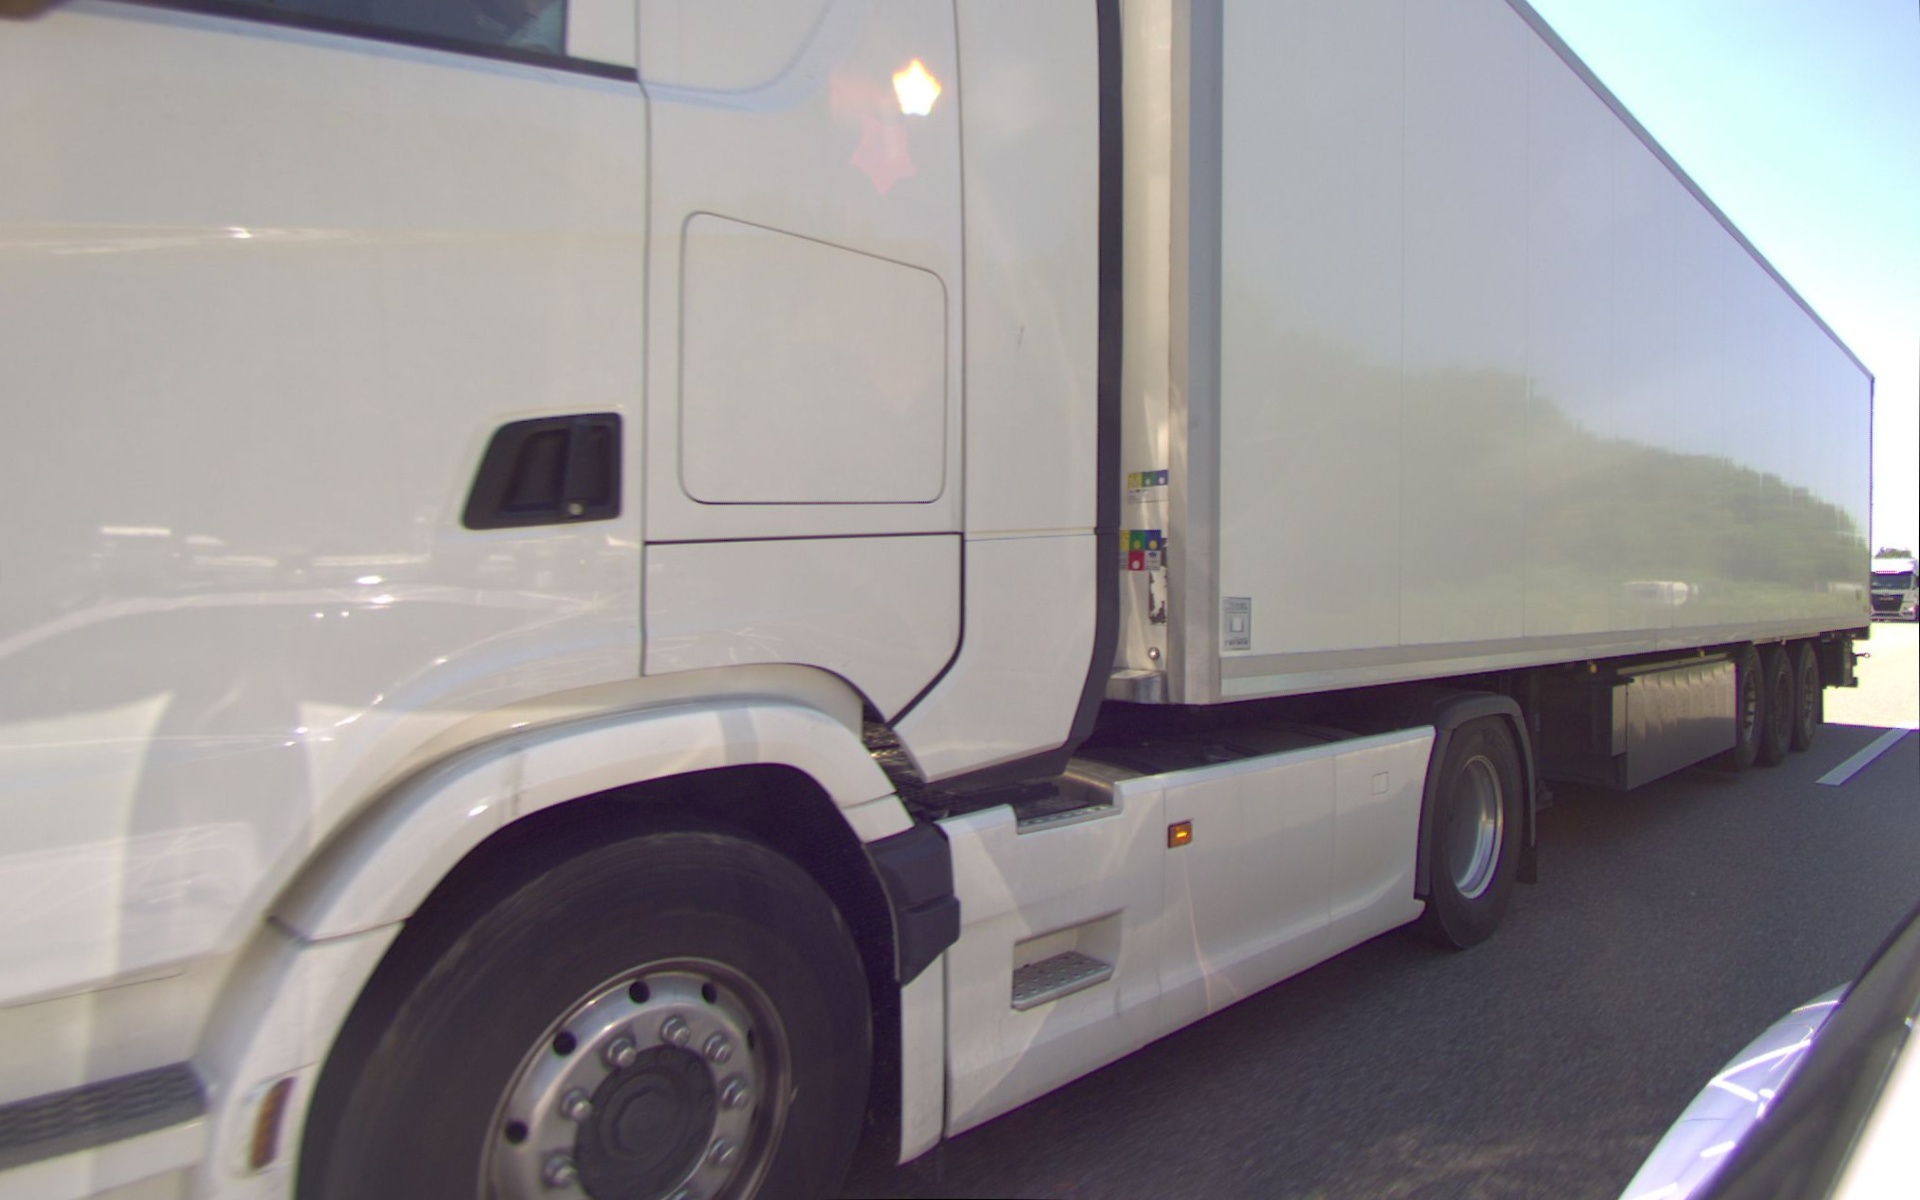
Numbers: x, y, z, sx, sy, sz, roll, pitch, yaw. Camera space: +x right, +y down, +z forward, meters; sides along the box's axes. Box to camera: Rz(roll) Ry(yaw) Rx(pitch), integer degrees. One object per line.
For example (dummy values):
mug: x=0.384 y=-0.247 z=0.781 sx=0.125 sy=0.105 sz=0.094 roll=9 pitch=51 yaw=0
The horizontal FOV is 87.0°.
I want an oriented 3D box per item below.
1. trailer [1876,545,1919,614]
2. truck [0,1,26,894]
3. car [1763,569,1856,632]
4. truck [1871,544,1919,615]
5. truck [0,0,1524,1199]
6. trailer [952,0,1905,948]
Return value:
trailer: x=63.636 y=-1.299 z=67.652 sx=12.150 sy=4.257 sz=2.792 roll=0 pitch=1 yaw=-45
truck: x=-8.542 y=-0.663 z=1.524 sx=10.356 sy=4.094 sz=2.447 roll=-1 pitch=1 yaw=-40
car: x=29.706 y=0.007 z=35.340 sx=5.429 sy=2.028 sz=1.858 roll=0 pitch=0 yaw=-43
truck: x=58.342 y=-1.247 z=62.455 sx=4.918 sy=4.257 sz=2.793 roll=0 pitch=1 yaw=-44
truck: x=-0.589 y=-0.809 z=3.614 sx=4.481 sy=4.209 sz=3.234 roll=0 pitch=1 yaw=-42
trailer: x=5.554 y=-0.808 z=9.139 sx=12.138 sy=4.195 sz=3.229 roll=0 pitch=1 yaw=-42
